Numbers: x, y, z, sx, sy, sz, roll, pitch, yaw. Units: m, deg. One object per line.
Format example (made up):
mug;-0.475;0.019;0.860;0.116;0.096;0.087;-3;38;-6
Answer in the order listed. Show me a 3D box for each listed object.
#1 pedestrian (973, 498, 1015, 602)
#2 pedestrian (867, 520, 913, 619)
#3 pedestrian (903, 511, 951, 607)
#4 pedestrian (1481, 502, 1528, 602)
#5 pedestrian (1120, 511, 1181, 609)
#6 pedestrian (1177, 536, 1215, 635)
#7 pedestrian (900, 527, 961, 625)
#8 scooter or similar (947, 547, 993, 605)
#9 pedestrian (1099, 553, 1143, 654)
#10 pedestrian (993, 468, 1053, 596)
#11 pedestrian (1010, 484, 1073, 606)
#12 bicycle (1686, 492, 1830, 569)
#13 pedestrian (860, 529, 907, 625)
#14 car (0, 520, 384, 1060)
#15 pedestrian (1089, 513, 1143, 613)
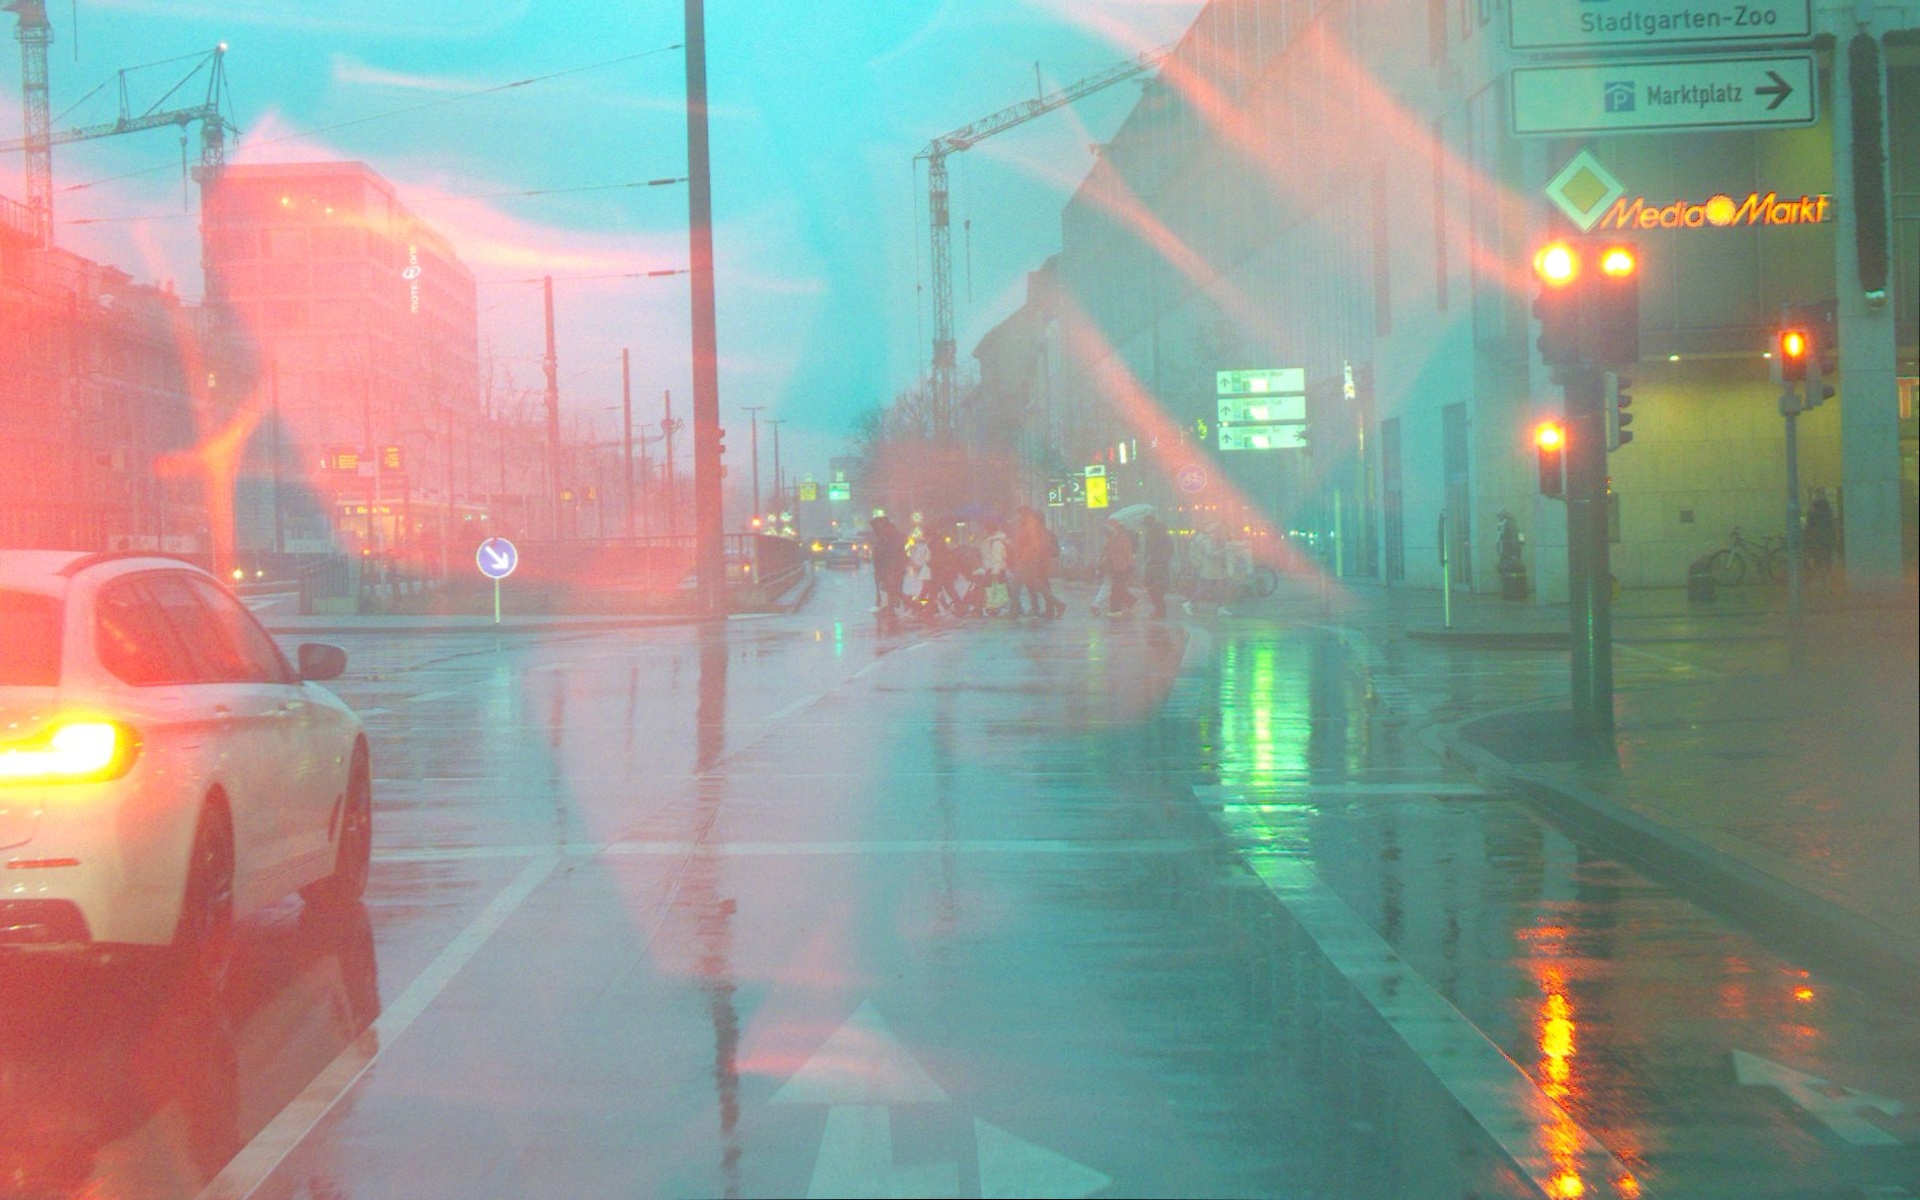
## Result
pedestrian;0.572;-0.852;58.650;0.619;1.740;0.613;-2;1;-4
pedestrian;-1.164;-0.517;57.131;0.706;1.613;0.613;-2;1;-1
pedestrian;-0.573;-0.716;59.945;0.741;1.661;0.400;-2;1;5
pedestrian;9.729;-0.852;61.412;0.703;1.754;0.652;-2;1;1
pedestrian;3.324;-0.695;60.018;0.842;1.682;0.677;-2;1;-14
pedestrian;4.236;-0.258;61.724;0.617;1.754;0.482;-2;1;1
pedestrian;-0.490;-0.397;57.671;0.817;1.613;0.538;-1;1;39
scooter or similar;0.181;-0.417;59.881;0.741;0.990;0.400;-2;1;5
pedestrian;2.853;0.061;60.793;0.702;1.754;0.667;-2;1;1
pedestrian;1.029;-1.115;56.338;0.686;2.080;0.613;-2;1;-39
pedestrian;1.359;-0.911;57.288;0.775;2.007;0.613;-2;1;-37
bicycle;14.389;-1.258;62.000;2.425;1.325;0.635;-1;1;-4
pedestrian;-1.307;-0.399;58.655;0.706;1.613;0.680;-2;1;2
car;-3.406;0.516;12.151;1.909;1.515;4.924;-2;1;0
pedestrian;2.680;-0.641;59.036;0.831;1.673;0.619;-2;1;-2
